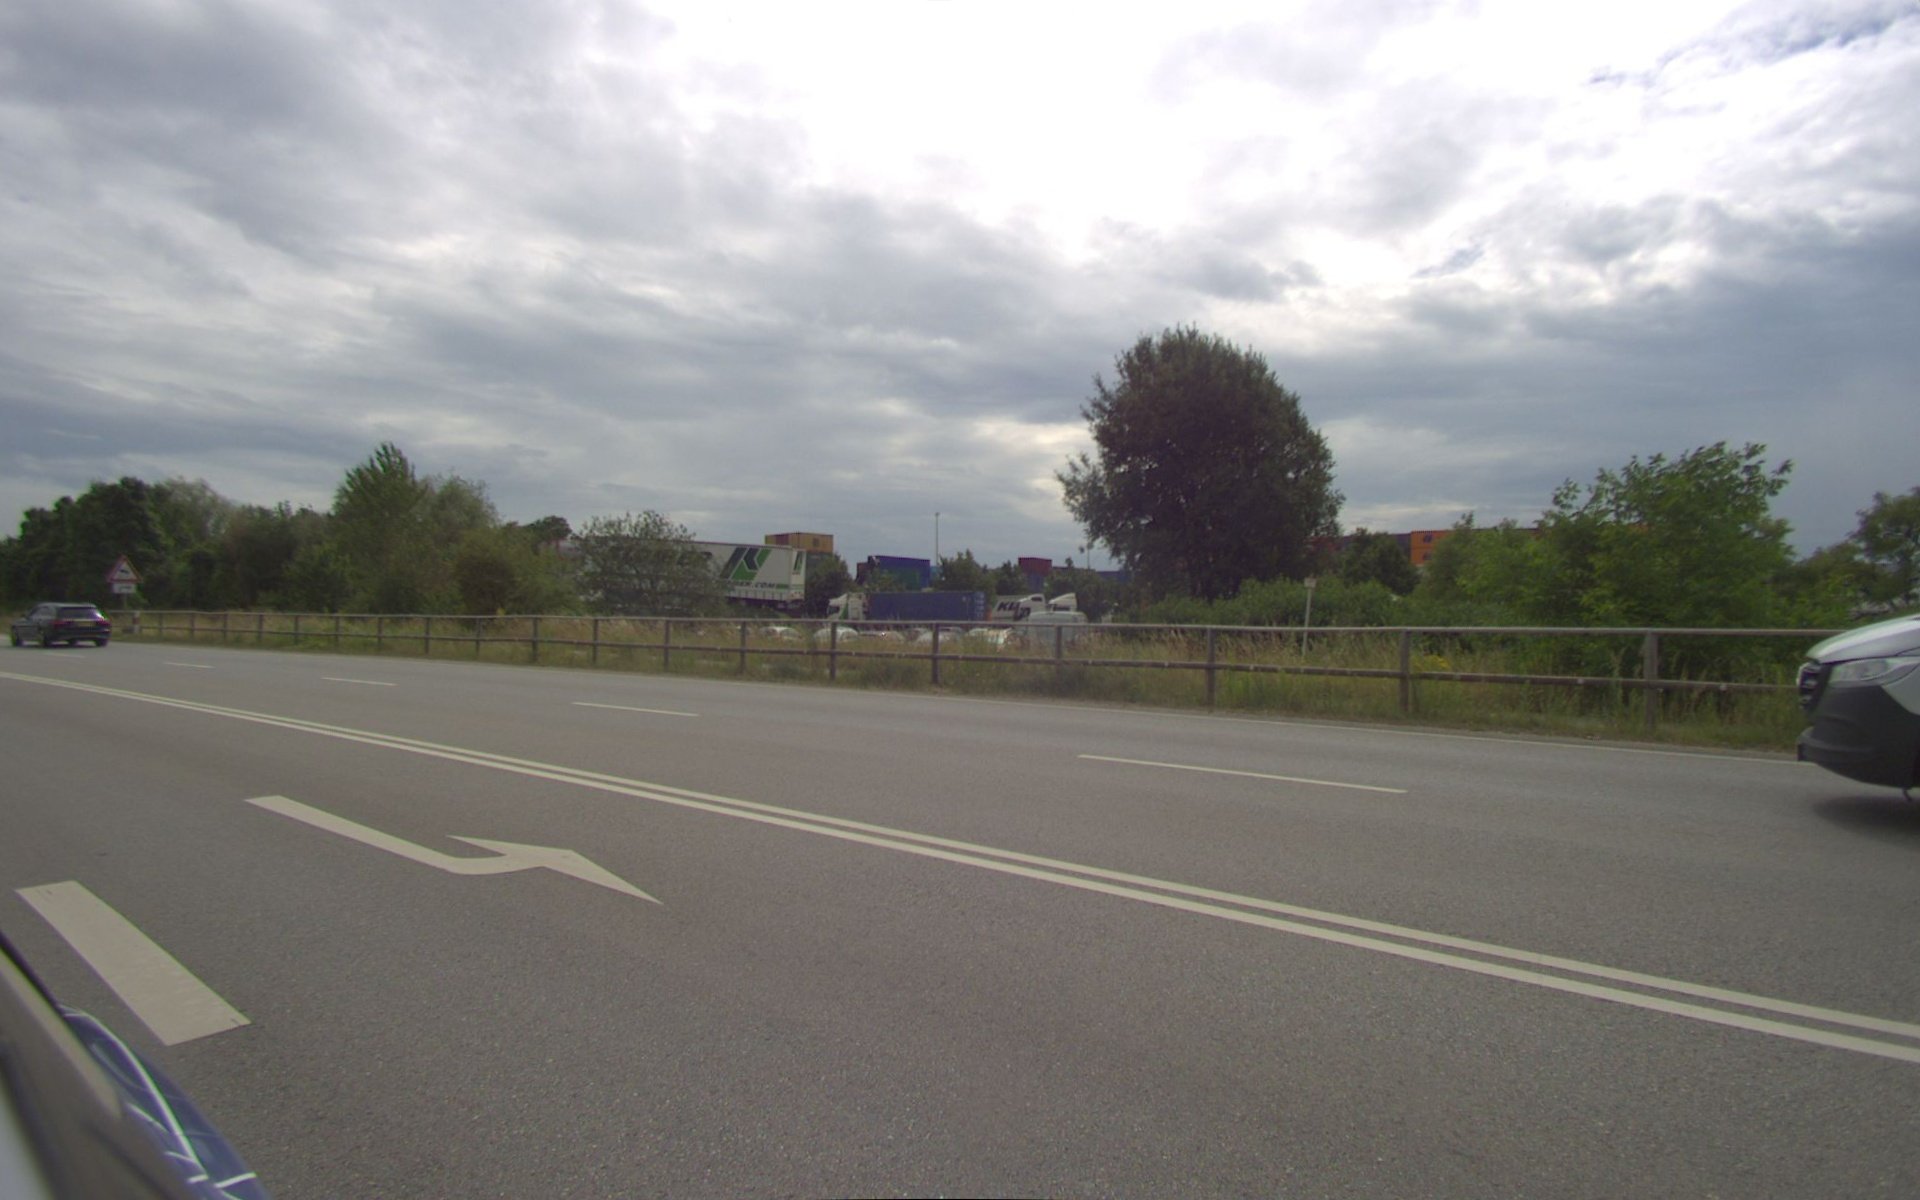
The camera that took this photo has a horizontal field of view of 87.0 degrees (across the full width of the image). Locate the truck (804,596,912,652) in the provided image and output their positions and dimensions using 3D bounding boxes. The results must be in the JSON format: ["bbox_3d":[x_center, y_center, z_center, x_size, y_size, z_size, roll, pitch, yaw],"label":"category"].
[{"bbox_3d":[-8.321,1.897,82.176,8.268,4.325,3.216,0,-1,24],"label":"truck"}]

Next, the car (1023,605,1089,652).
[{"bbox_3d":[4.047,1.126,41.994,1.982,1.747,4.562,-1,1,15],"label":"car"}]

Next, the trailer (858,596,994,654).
[{"bbox_3d":[-2.723,1.914,79.642,10.341,4.325,3.216,0,-1,24],"label":"trailer"}]

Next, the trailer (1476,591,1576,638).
[{"bbox_3d":[33.547,0.843,60.015,5.056,2.680,1.977,0,-1,34],"label":"trailer"}]

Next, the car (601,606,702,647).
[{"bbox_3d":[-15.301,1.267,50.171,4.468,1.890,2.006,0,0,-30],"label":"car"}]

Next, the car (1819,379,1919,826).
[{"bbox_3d":[8.817,-0.019,5.035,6.885,2.695,2.408,-1,-1,41],"label":"car"}]

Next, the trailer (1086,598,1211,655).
[{"bbox_3d":[14.616,2.024,78.722,9.233,4.325,2.202,0,-1,-6],"label":"trailer"}]

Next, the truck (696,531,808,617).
[{"bbox_3d":[-12.616,-1.544,61.540,6.122,5.034,2.796,0,0,10],"label":"truck"}]

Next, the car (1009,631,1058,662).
[{"bbox_3d":[4.527,2.809,62.127,1.832,1.732,3.969,0,0,23],"label":"car"}]

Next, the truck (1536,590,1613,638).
[{"bbox_3d":[35.603,0.793,58.619,3.721,2.698,1.977,0,-1,34],"label":"truck"}]

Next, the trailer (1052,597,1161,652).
[{"bbox_3d":[11.856,1.975,82.205,8.368,4.325,2.202,0,-1,-6],"label":"trailer"}]

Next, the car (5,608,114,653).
[{"bbox_3d":[-30.779,1.010,34.557,4.342,1.452,1.793,-1,-1,34],"label":"car"}]

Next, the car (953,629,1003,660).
[{"bbox_3d":[1.182,2.770,63.872,1.832,1.732,3.969,0,0,23],"label":"car"}]

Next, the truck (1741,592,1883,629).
[{"bbox_3d":[49.478,0.549,58.883,6.230,2.029,1.972,1,1,42],"label":"truck"}]

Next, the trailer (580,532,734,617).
[{"bbox_3d":[-18.703,-1.521,62.655,8.885,5.034,2.798,0,0,10],"label":"trailer"}]

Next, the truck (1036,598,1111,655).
[{"bbox_3d":[8.746,2.014,78.096,5.346,4.325,2.202,0,-1,-6],"label":"truck"}]

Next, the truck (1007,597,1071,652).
[{"bbox_3d":[6.370,1.966,81.606,4.779,4.325,2.202,0,-1,-6],"label":"truck"}]
